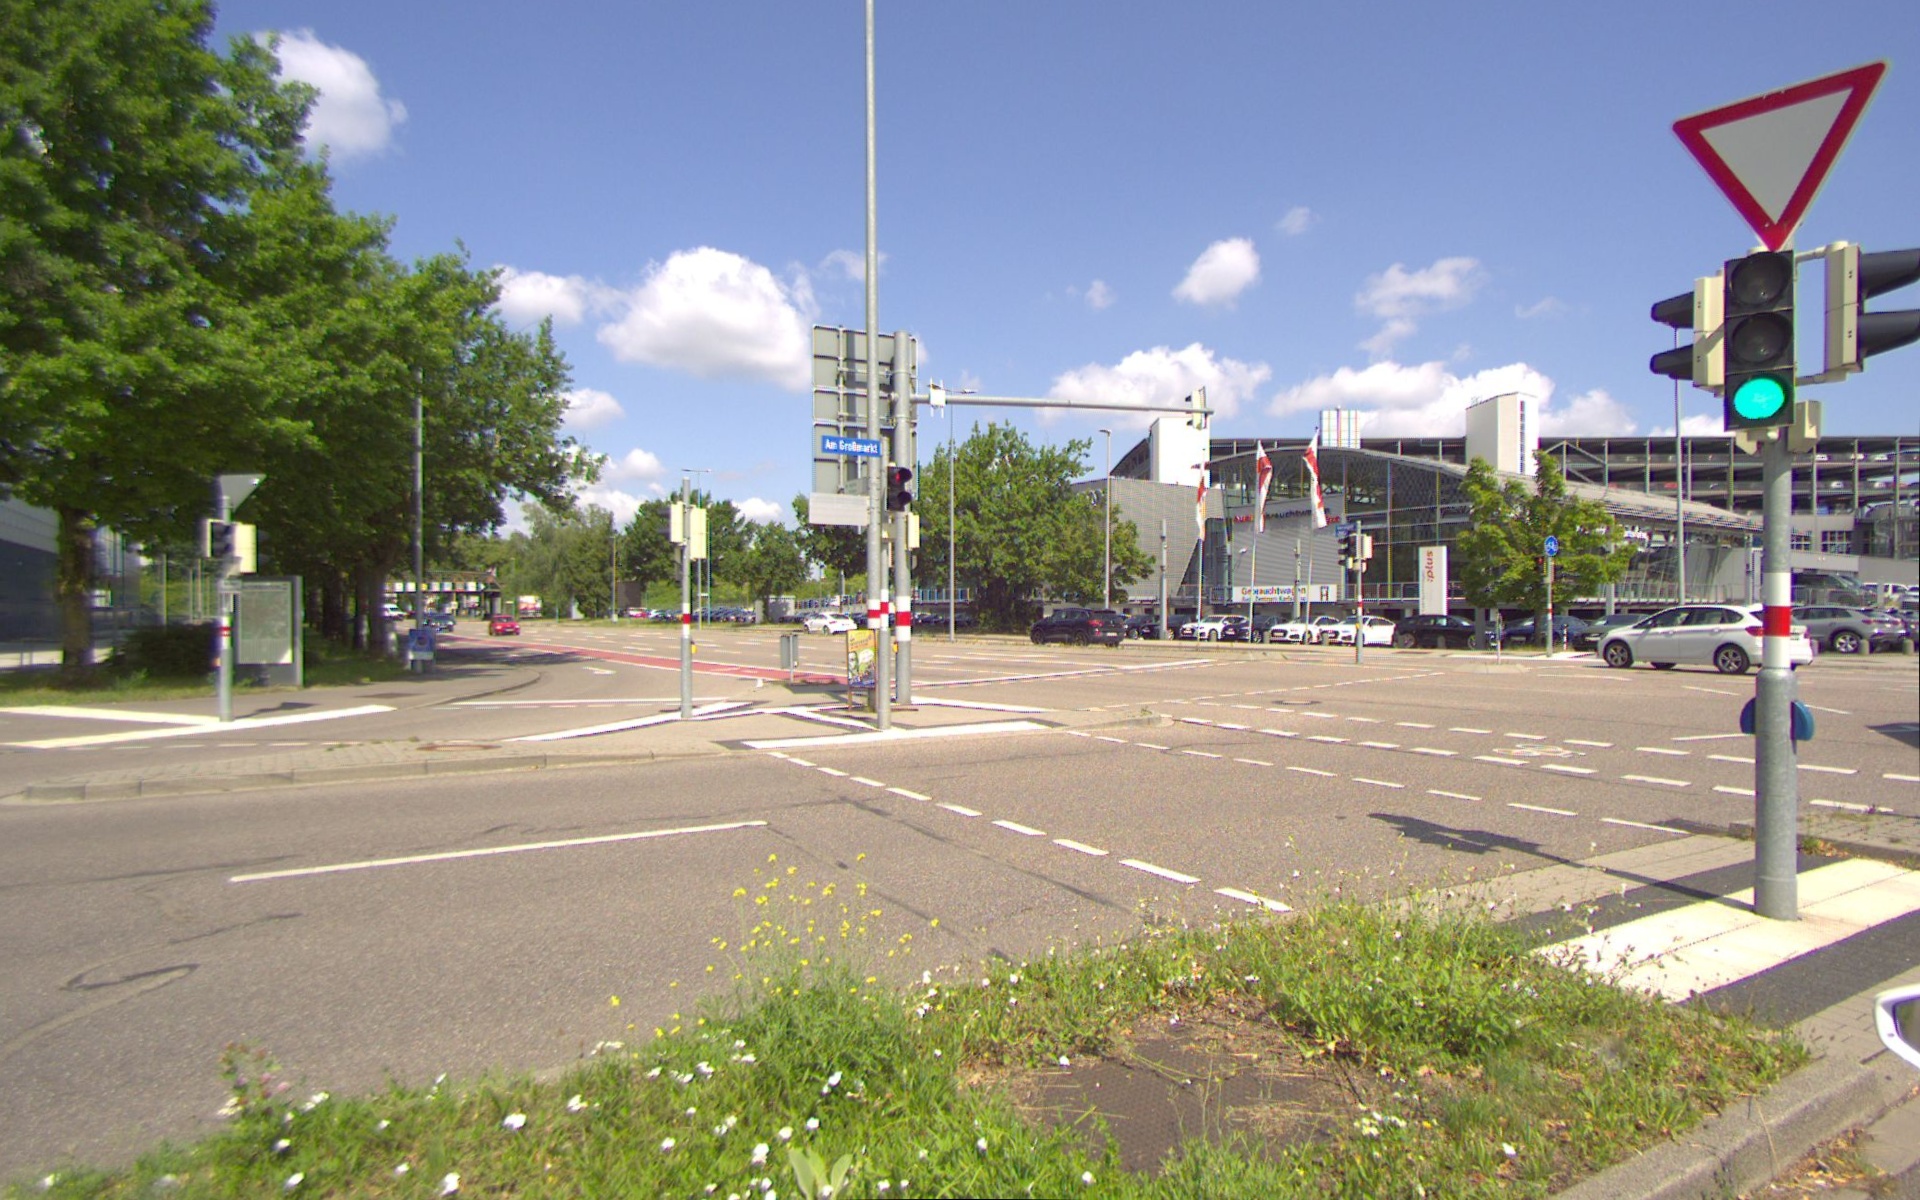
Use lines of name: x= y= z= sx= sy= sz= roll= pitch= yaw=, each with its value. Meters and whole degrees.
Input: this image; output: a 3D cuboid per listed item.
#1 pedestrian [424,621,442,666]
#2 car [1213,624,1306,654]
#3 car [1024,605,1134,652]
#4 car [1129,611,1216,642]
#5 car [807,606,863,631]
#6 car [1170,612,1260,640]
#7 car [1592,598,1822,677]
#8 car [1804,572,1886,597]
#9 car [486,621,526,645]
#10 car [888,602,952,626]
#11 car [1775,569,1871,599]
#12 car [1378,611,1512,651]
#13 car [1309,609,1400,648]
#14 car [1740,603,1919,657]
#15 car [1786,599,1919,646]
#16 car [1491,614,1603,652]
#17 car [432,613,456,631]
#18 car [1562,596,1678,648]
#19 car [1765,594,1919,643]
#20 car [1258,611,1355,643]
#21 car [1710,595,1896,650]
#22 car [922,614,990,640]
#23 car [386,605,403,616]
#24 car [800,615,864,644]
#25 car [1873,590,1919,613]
pedestrian: x=-18.974 y=1.554 z=36.189 sx=0.499 sy=1.576 sz=0.753 roll=0 pitch=0 yaw=-34
car: x=14.479 y=1.856 z=48.426 sx=4.544 sy=1.315 sz=1.888 roll=2 pitch=0 yaw=-35
car: x=4.580 y=1.065 z=39.236 sx=1.762 sy=1.639 sz=4.220 roll=1 pitch=0 yaw=-39
car: x=11.258 y=1.399 z=53.085 sx=4.546 sy=1.314 sz=1.888 roll=5 pitch=-2 yaw=-35
car: x=-10.934 y=1.654 z=87.917 sx=4.544 sy=2.076 sz=1.888 roll=1 pitch=0 yaw=-35
car: x=12.911 y=1.333 z=50.730 sx=4.544 sy=1.315 sz=1.888 roll=2 pitch=0 yaw=-35
car: x=17.427 y=0.818 z=23.659 sx=1.753 sy=1.639 sz=3.976 roll=1 pitch=0 yaw=-24
car: x=60.098 y=-1.049 z=68.250 sx=1.752 sy=1.573 sz=3.951 roll=1 pitch=0 yaw=-41
car: x=-33.890 y=2.455 z=74.892 sx=1.831 sy=1.623 sz=4.518 roll=1 pitch=0 yaw=-36
car: x=-3.005 y=1.081 z=76.295 sx=4.544 sy=1.700 sz=1.888 roll=1 pitch=0 yaw=-35
car: x=55.998 y=-1.029 z=65.237 sx=1.748 sy=1.825 sz=4.411 roll=1 pitch=0 yaw=-35
car: x=19.944 y=1.263 z=41.484 sx=1.778 sy=1.483 sz=4.710 roll=4 pitch=-3 yaw=-35
car: x=17.264 y=1.259 z=43.908 sx=3.961 sy=1.483 sz=1.778 roll=4 pitch=-3 yaw=-35
car: x=31.304 y=1.041 z=36.298 sx=1.887 sy=1.700 sz=4.548 roll=1 pitch=0 yaw=-33
car: x=35.628 y=0.862 z=39.471 sx=1.887 sy=1.700 sz=4.548 roll=1 pitch=0 yaw=-33
car: x=22.011 y=1.229 z=37.631 sx=4.544 sy=1.315 sz=1.888 roll=2 pitch=0 yaw=-35
car: x=-45.232 y=1.893 z=88.013 sx=1.873 sy=1.576 sz=4.554 roll=0 pitch=-1 yaw=-28
car: x=23.361 y=0.771 z=35.508 sx=4.544 sy=1.700 sz=1.888 roll=1 pitch=0 yaw=-35
car: x=33.663 y=0.662 z=38.045 sx=1.887 sy=1.700 sz=4.548 roll=1 pitch=0 yaw=-33
car: x=15.963 y=1.246 z=46.209 sx=4.544 sy=1.315 sz=1.888 roll=2 pitch=0 yaw=-35
car: x=28.981 y=0.725 z=34.673 sx=1.887 sy=1.700 sz=4.548 roll=1 pitch=0 yaw=-33
car: x=-0.243 y=1.914 z=70.936 sx=4.544 sy=1.700 sz=1.888 roll=1 pitch=0 yaw=-35
car: x=-88.091 y=1.650 z=156.409 sx=1.915 sy=1.778 sz=4.773 roll=1 pitch=-1 yaw=-35
car: x=-7.161 y=1.613 z=55.869 sx=1.843 sy=1.461 sz=3.960 roll=1 pitch=0 yaw=-35
car: x=67.006 y=0.142 z=70.627 sx=1.752 sy=1.573 sz=3.951 roll=1 pitch=0 yaw=-41
